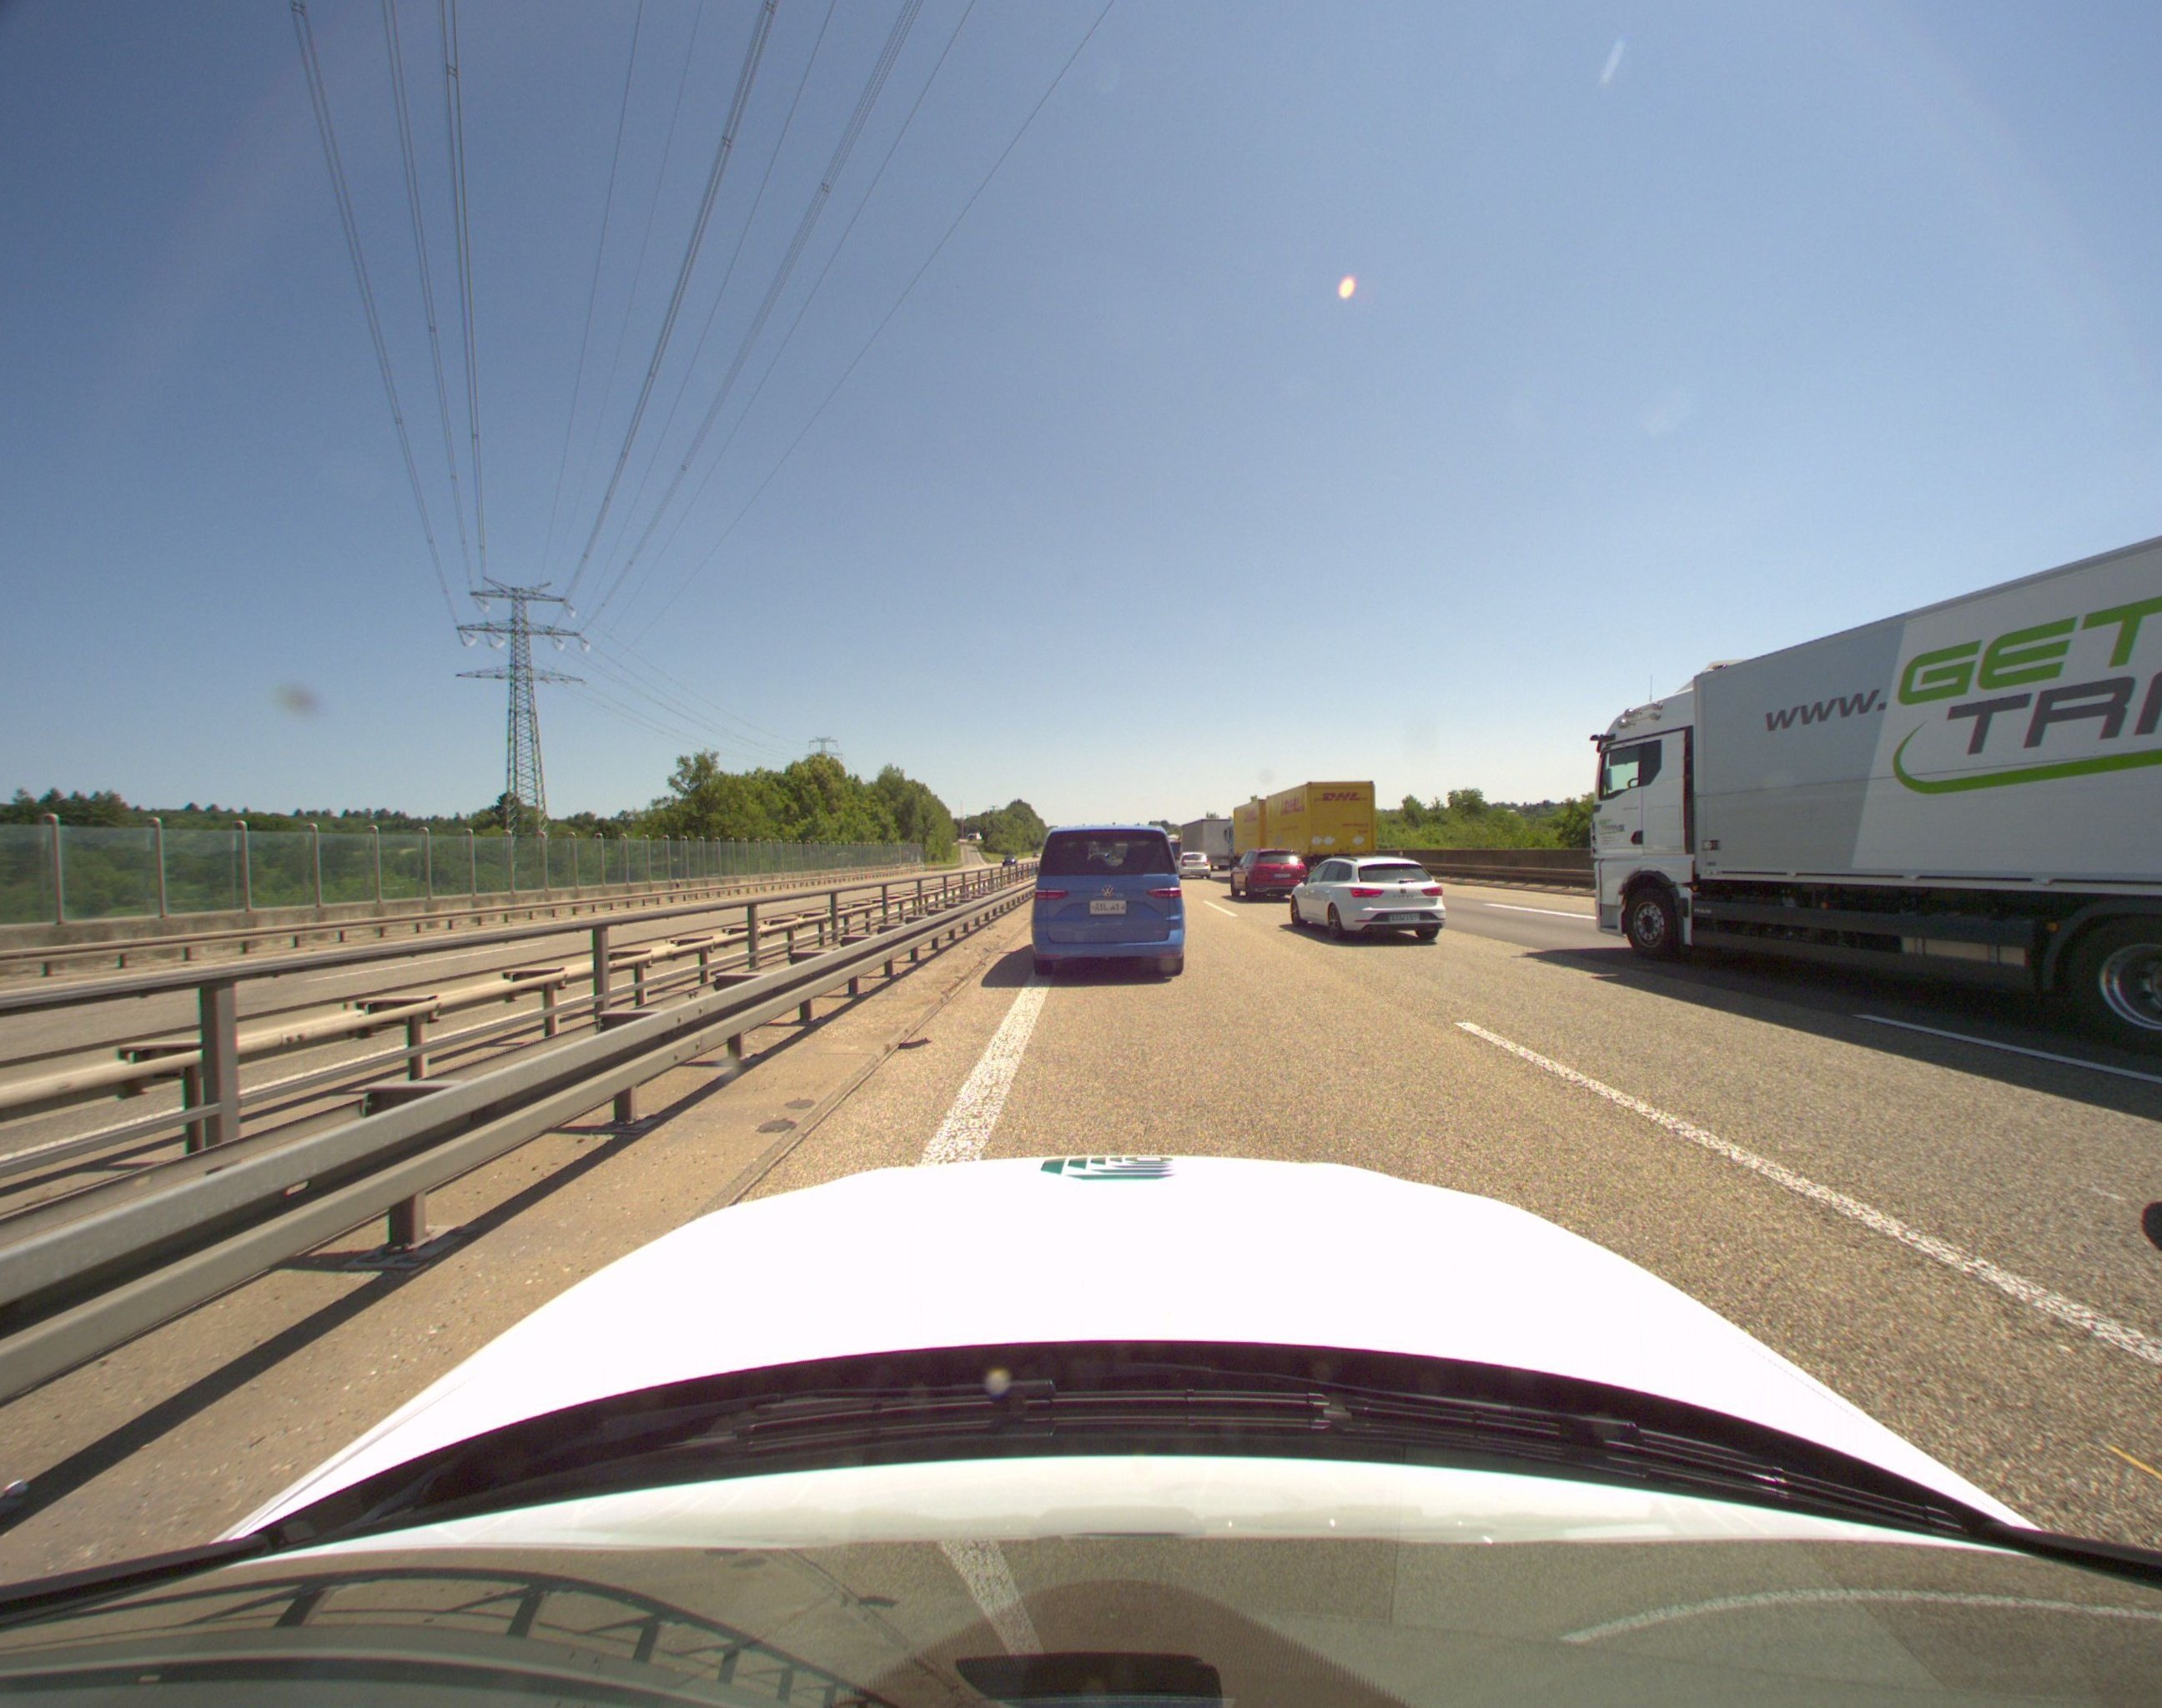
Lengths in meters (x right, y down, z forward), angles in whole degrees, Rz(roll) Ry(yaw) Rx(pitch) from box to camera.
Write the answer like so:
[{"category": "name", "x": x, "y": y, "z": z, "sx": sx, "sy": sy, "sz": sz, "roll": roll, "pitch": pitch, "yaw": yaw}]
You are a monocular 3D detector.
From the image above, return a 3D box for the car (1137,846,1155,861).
[{"category": "car", "x": 7.178, "y": -0.019, "z": 90.270, "sx": 1.709, "sy": 1.540, "sz": 3.822, "roll": -3, "pitch": 0, "yaw": 2}]

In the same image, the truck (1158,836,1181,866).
[{"category": "truck", "x": 11.304, "y": -0.400, "z": 104.167, "sx": 2.359, "sy": 3.722, "sz": 6.034, "roll": 0, "pitch": -1, "yaw": 1}]

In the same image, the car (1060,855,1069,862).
[{"category": "car", "x": -4.042, "y": 1.066, "z": 200.921, "sx": 1.748, "sy": 1.721, "sz": 4.102, "roll": -3, "pitch": 0, "yaw": 2}]

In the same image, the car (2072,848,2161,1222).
[{"category": "car", "x": 5.022, "y": 0.686, "z": 1.176, "sx": 1.704, "sy": 1.440, "sz": 4.499, "roll": -1, "pitch": 0, "yaw": 0}]

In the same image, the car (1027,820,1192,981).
[{"category": "car", "x": 0.393, "y": 0.540, "z": 11.403, "sx": 1.875, "sy": 1.837, "sz": 4.002, "roll": -1, "pitch": 0, "yaw": 2}]

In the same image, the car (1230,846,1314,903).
[{"category": "car", "x": 6.019, "y": 0.573, "z": 26.070, "sx": 1.844, "sy": 1.608, "sz": 4.002, "roll": -1, "pitch": 1, "yaw": 2}]

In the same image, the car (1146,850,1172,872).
[{"category": "car", "x": 6.287, "y": 0.553, "z": 65.760, "sx": 1.709, "sy": 1.587, "sz": 3.822, "roll": -2, "pitch": 0, "yaw": 1}]

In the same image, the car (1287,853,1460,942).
[{"category": "car", "x": 5.144, "y": 0.687, "z": 14.948, "sx": 1.774, "sy": 1.387, "sz": 4.189, "roll": -1, "pitch": 0, "yaw": 2}]

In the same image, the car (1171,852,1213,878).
[{"category": "car", "x": 6.260, "y": 0.597, "z": 46.420, "sx": 1.832, "sy": 1.414, "sz": 4.000, "roll": -1, "pitch": 0, "yaw": 0}]

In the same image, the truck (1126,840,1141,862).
[{"category": "truck", "x": 12.601, "y": -0.610, "z": 195.038, "sx": 2.824, "sy": 5.040, "sz": 11.815, "roll": 0, "pitch": -1, "yaw": 0}]

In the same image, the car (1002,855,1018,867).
[{"category": "car", "x": -10.174, "y": 0.977, "z": 116.654, "sx": 1.774, "sy": 1.569, "sz": 4.388, "roll": -3, "pitch": 0, "yaw": 1}]

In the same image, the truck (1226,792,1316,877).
[{"category": "truck", "x": 9.936, "y": -0.863, "z": 43.929, "sx": 2.712, "sy": 4.054, "sz": 10.339, "roll": 0, "pitch": -1, "yaw": 2}]

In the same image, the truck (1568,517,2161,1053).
[{"category": "truck", "x": 8.728, "y": -0.455, "z": 7.036, "sx": 2.840, "sy": 3.603, "sz": 10.771, "roll": 0, "pitch": -1, "yaw": 1}]

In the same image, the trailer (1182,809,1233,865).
[{"category": "trailer", "x": 10.197, "y": -1.222, "z": 66.992, "sx": 2.745, "sy": 4.146, "sz": 11.315, "roll": 0, "pitch": -1, "yaw": 2}]

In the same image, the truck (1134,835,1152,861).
[{"category": "truck", "x": 12.565, "y": -1.084, "z": 164.792, "sx": 2.824, "sy": 5.040, "sz": 11.144, "roll": 0, "pitch": -1, "yaw": 0}]

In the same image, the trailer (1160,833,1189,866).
[{"category": "trailer", "x": 11.190, "y": -0.489, "z": 98.247, "sx": 2.371, "sy": 3.744, "sz": 11.190, "roll": 0, "pitch": -1, "yaw": 1}]

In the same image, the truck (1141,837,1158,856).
[{"category": "truck", "x": 12.111, "y": -1.271, "z": 145.055, "sx": 2.348, "sy": 3.218, "sz": 9.739, "roll": 0, "pitch": -1, "yaw": 0}]

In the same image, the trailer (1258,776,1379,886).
[{"category": "trailer", "x": 9.663, "y": -0.801, "z": 34.276, "sx": 2.691, "sy": 4.023, "sz": 8.933, "roll": 0, "pitch": -1, "yaw": 1}]

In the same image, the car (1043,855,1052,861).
[{"category": "car", "x": -8.315, "y": 0.990, "z": 200.839, "sx": 1.748, "sy": 1.547, "sz": 4.001, "roll": -3, "pitch": -1, "yaw": 2}]

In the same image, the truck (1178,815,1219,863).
[{"category": "truck", "x": 10.374, "y": -1.241, "z": 72.556, "sx": 2.758, "sy": 4.095, "sz": 6.985, "roll": 0, "pitch": -1, "yaw": 1}]
